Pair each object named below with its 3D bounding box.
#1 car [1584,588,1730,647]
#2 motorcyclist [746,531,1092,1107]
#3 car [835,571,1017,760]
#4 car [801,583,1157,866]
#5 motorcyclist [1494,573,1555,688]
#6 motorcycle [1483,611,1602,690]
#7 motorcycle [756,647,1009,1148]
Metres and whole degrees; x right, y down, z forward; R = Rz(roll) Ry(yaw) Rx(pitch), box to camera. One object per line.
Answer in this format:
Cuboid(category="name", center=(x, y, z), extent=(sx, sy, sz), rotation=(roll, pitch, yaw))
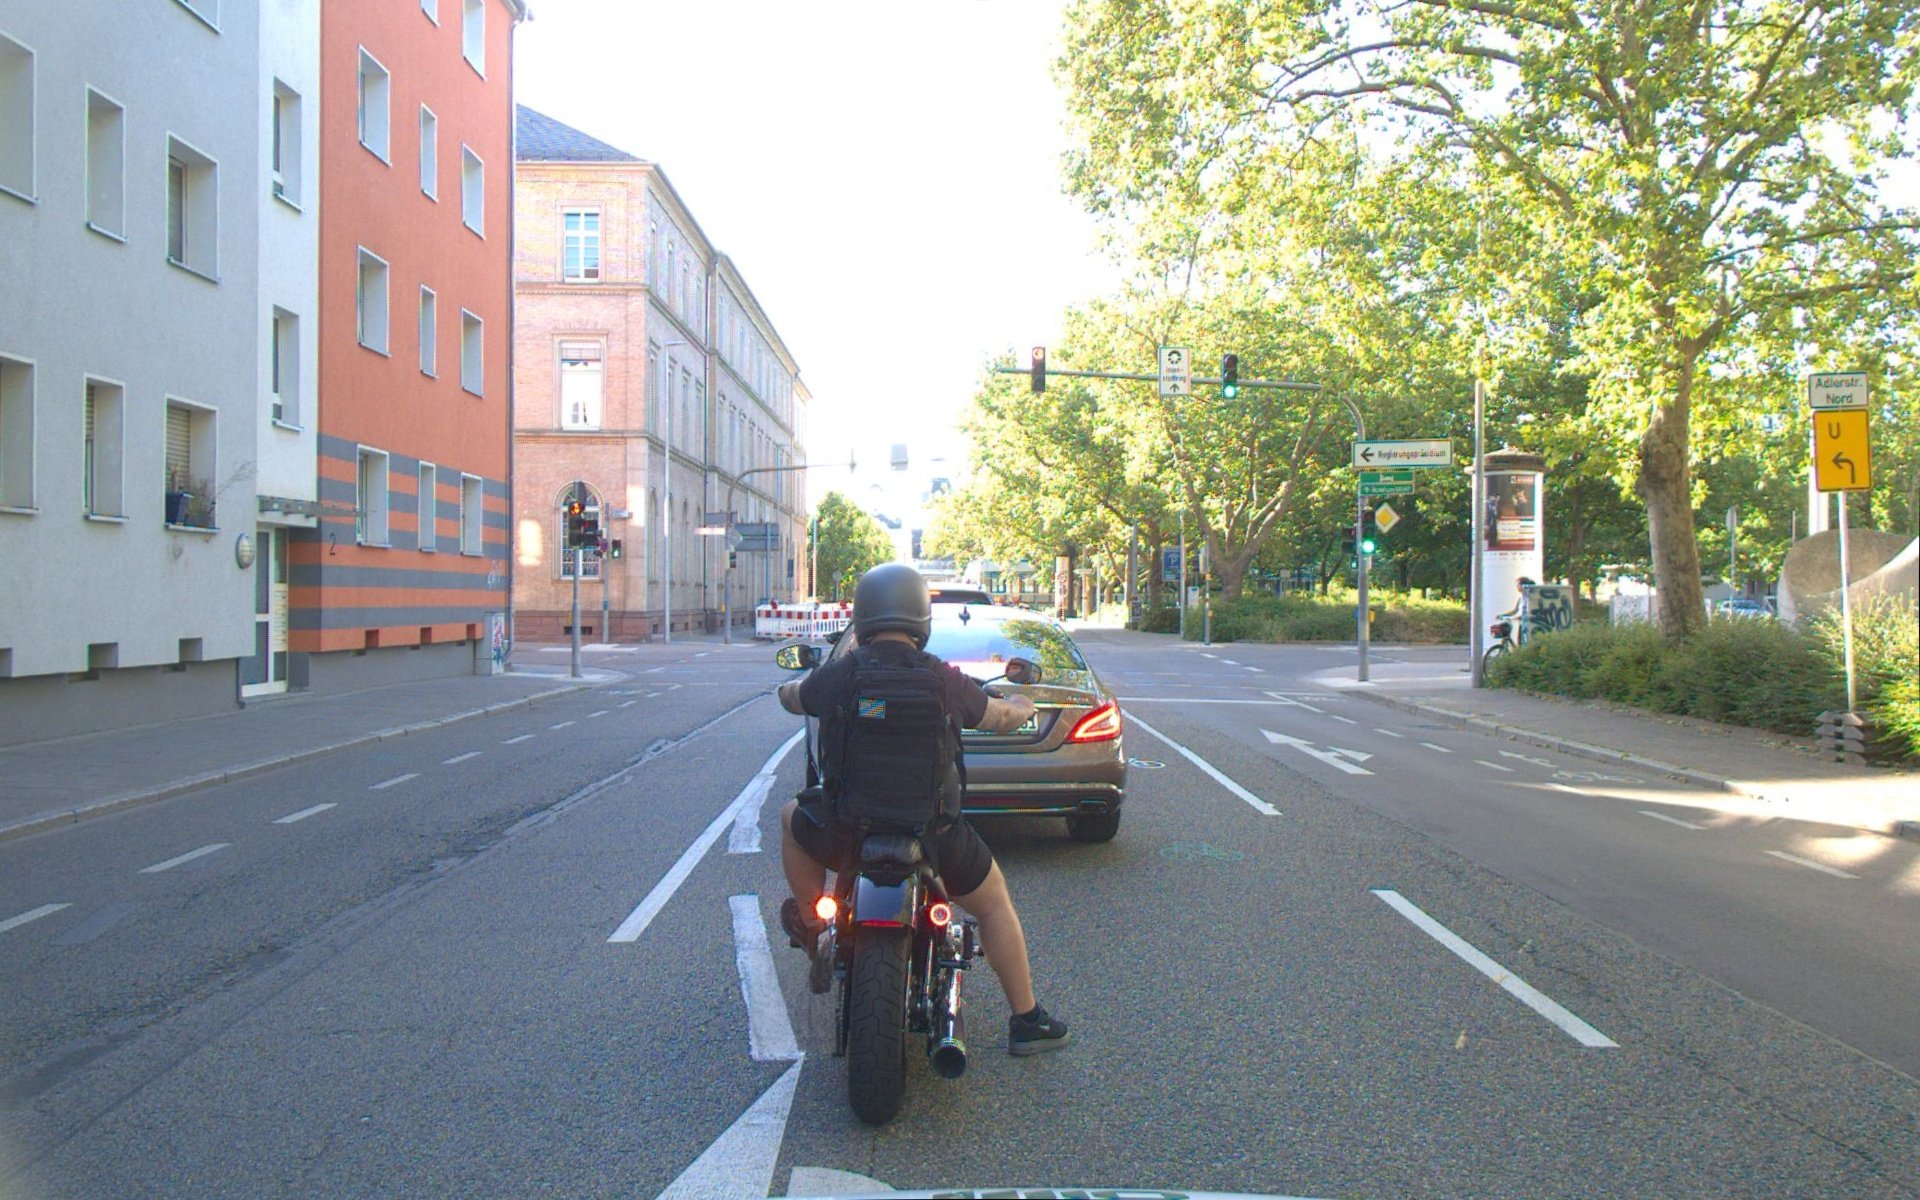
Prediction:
Cuboid(category="car", center=(21.989, 0.540, 52.279), extent=(3.907, 1.803, 1.737), rotation=(0, 0, -3))
Cuboid(category="motorcyclist", center=(-0.124, 0.631, 5.310), extent=(0.970, 1.639, 1.120), rotation=(1, 0, -1))
Cuboid(category="car", center=(-0.332, 0.602, 16.953), extent=(1.618, 1.681, 3.999), rotation=(1, 0, -1))
Cuboid(category="car", center=(-0.086, 0.686, 11.110), extent=(1.790, 1.512, 4.326), rotation=(1, 0, -7))
Cuboid(category="motorcyclist", center=(9.483, 0.507, 27.819), extent=(0.805, 1.896, 0.672), rotation=(1, -1, 4))
Cuboid(category="motorcycle", center=(9.775, 0.839, 27.808), extent=(1.743, 1.265, 0.723), rotation=(1, 0, 4))
Cuboid(category="motorcycle", center=(-0.219, 0.817, 5.400), extent=(0.646, 1.261, 2.057), rotation=(1, 0, -1))
